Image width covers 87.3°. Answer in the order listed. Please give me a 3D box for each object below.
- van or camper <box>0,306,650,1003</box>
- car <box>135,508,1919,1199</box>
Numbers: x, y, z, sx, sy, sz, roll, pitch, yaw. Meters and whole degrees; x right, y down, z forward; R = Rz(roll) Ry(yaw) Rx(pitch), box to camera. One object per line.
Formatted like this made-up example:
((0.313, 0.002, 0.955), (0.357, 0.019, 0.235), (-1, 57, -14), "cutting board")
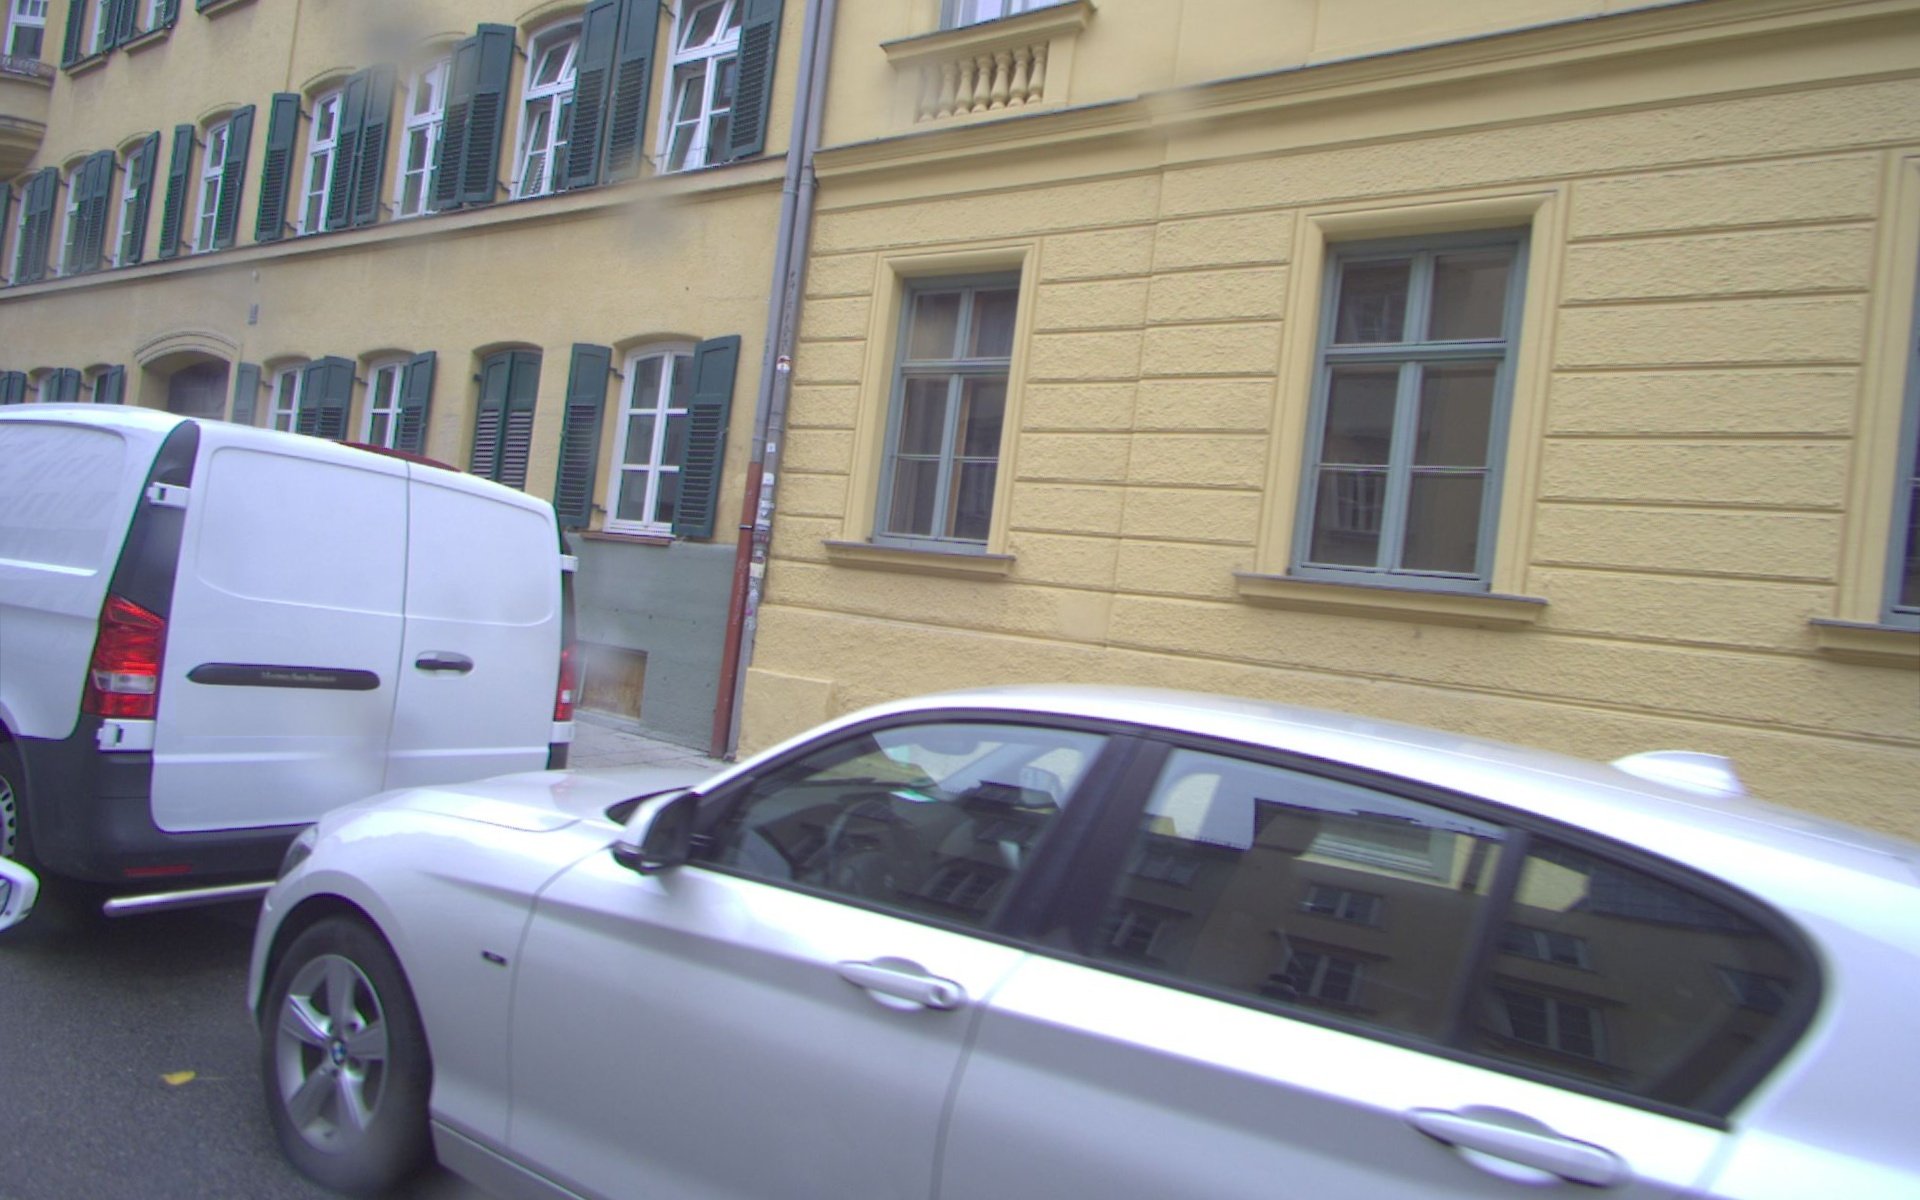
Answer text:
((-4.259, -0.038, 5.060), (5.143, 2.038, 1.997), (7, 0, 29), "van or camper")
((0.245, 0.825, 2.452), (4.508, 1.528, 1.820), (7, -1, 28), "car")
